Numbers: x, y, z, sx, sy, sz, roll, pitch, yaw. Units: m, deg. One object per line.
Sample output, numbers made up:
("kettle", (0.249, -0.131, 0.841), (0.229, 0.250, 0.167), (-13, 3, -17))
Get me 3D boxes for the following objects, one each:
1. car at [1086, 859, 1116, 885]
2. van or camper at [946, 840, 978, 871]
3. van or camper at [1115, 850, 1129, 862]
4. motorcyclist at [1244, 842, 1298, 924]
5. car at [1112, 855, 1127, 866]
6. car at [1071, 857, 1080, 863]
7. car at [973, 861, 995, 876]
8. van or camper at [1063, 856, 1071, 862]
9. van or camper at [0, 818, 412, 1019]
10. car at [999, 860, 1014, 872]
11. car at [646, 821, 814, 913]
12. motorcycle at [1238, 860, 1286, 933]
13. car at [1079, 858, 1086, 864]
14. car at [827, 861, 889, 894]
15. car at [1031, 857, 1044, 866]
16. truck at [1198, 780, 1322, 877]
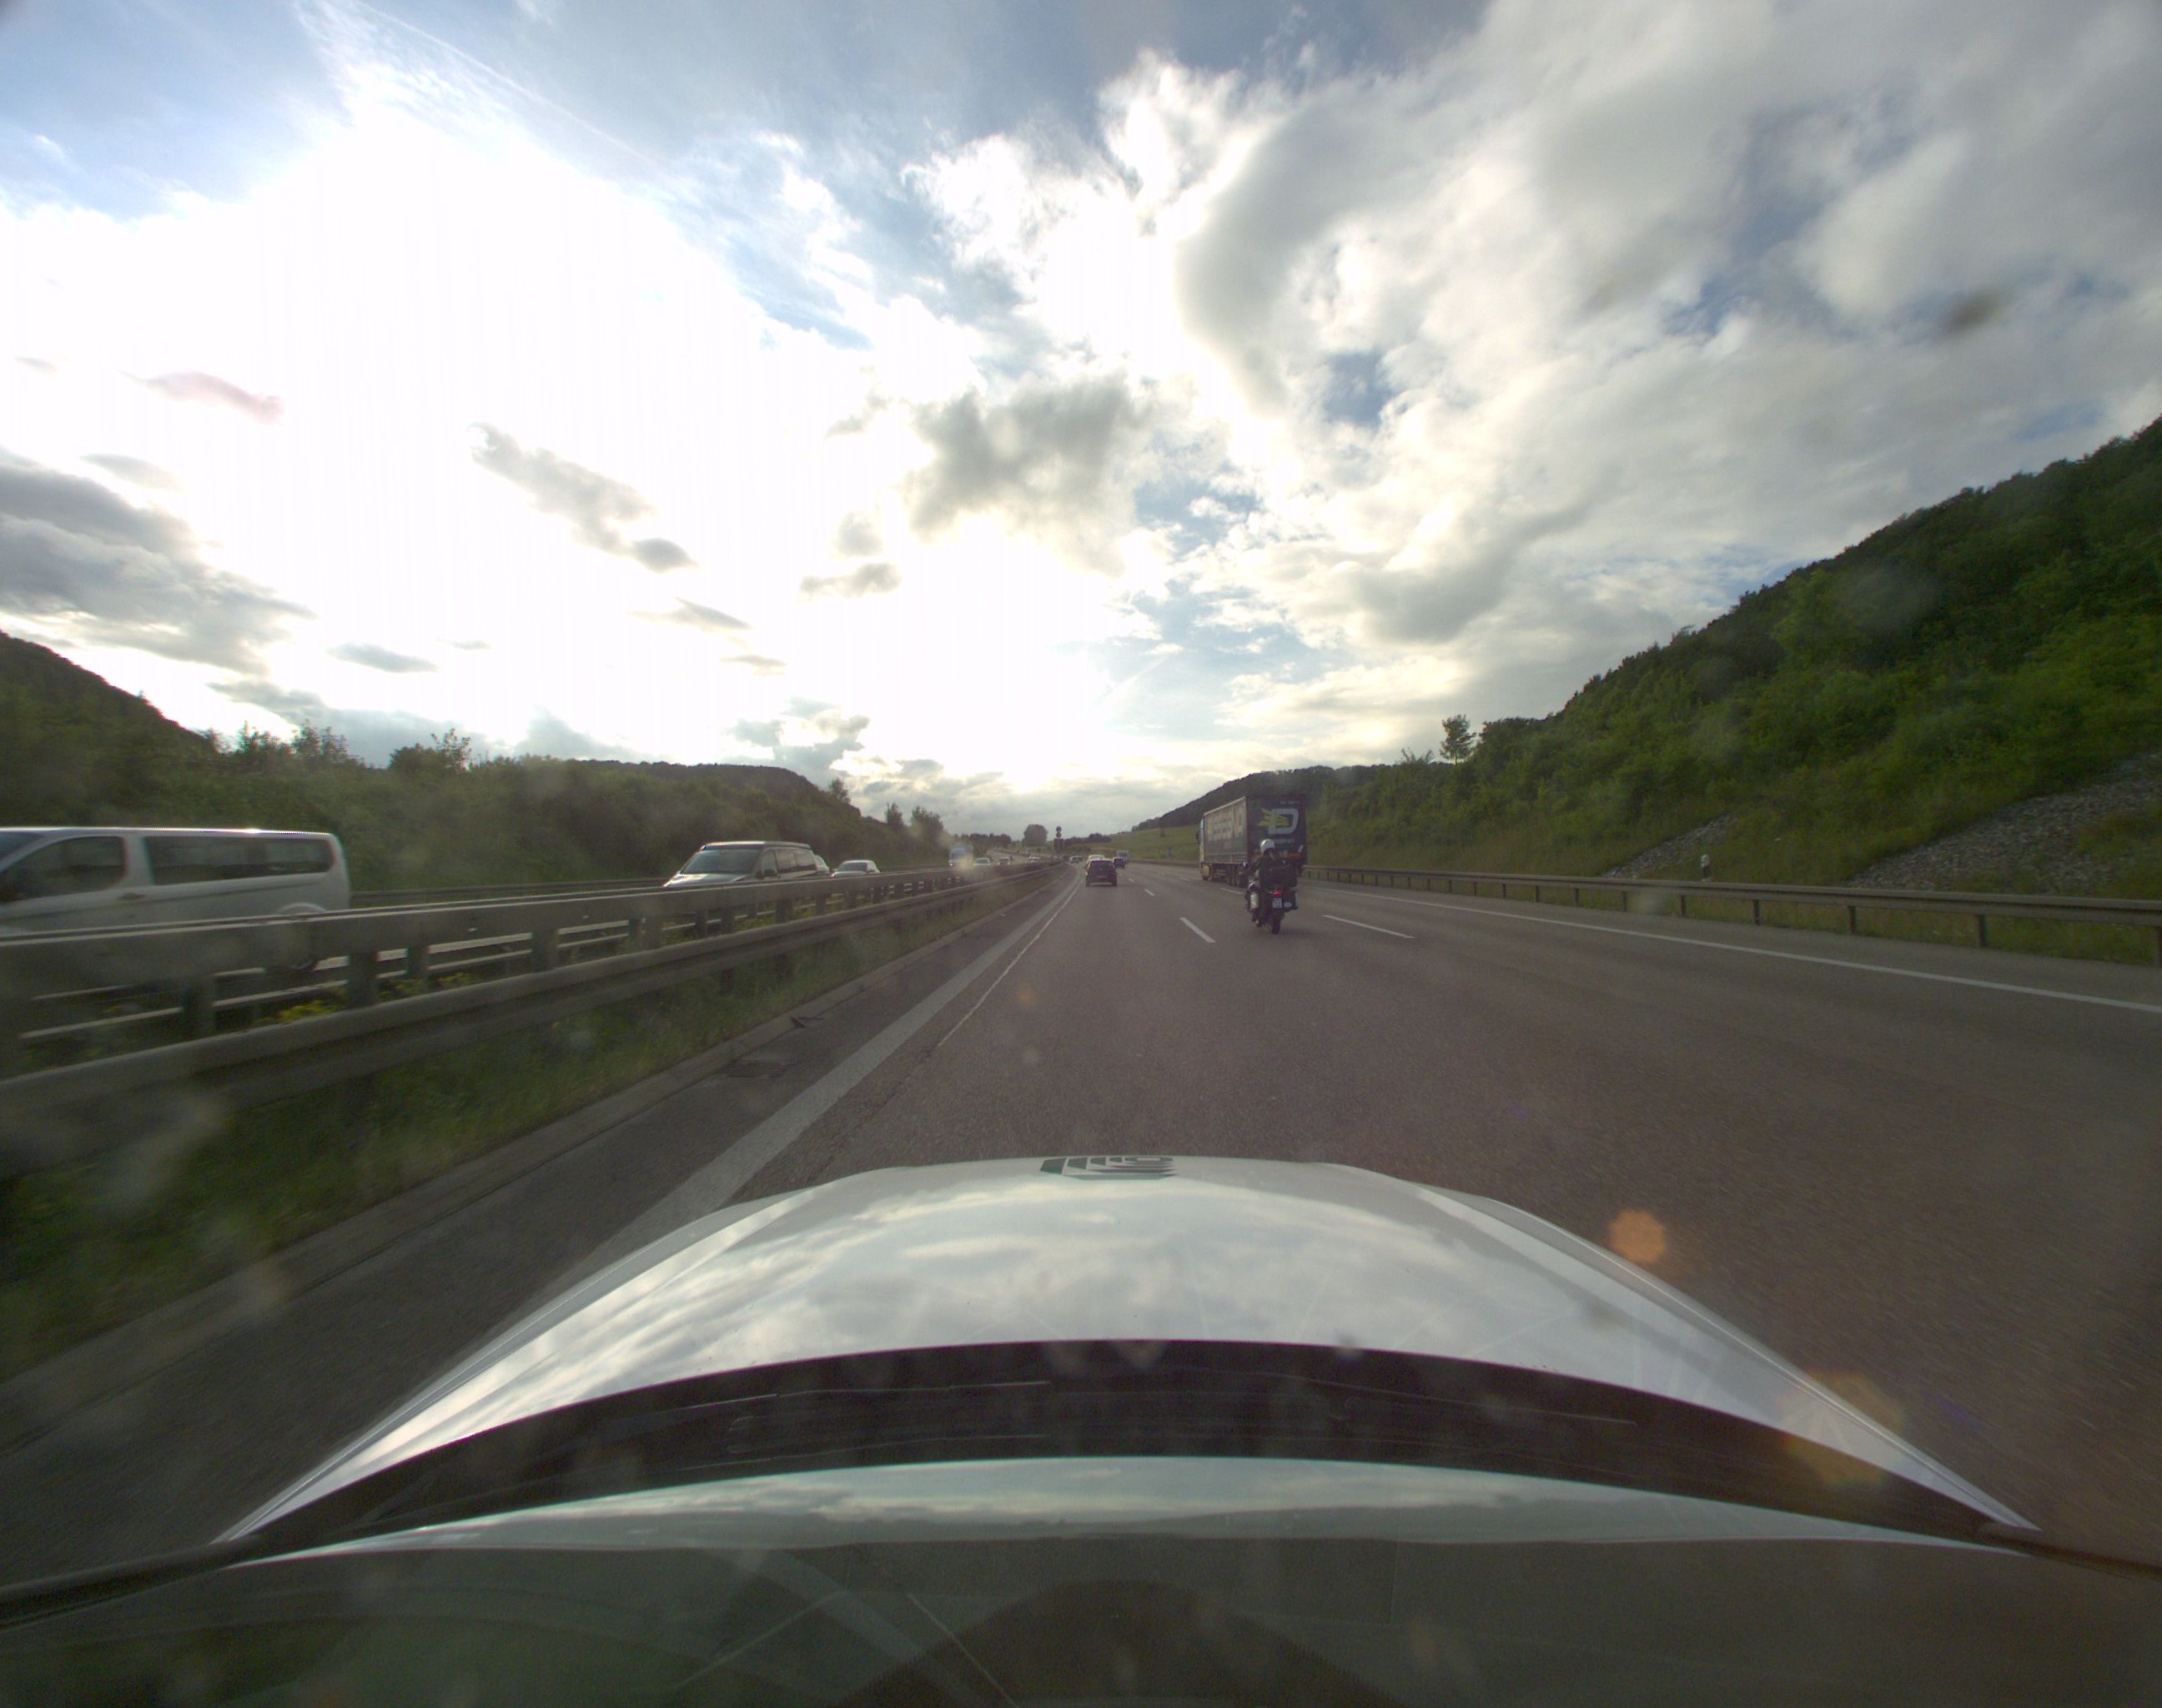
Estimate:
("car", (1.115, 0.950, 44.137), (1.532, 1.348, 3.678), (-1, 0, 2))
("van or camper", (-14.074, 0.202, 96.932), (2.474, 3.551, 7.977), (-1, 0, 0))
("van or camper", (7.653, 0.390, 152.016), (2.538, 2.239, 5.331), (-1, 0, 2))
("motorcyclist", (3.638, 0.545, 15.628), (0.873, 1.515, 0.798), (0, -1, 2))
("car", (4.953, 0.850, 105.115), (1.761, 1.433, 3.999), (-1, 0, 0))
("car", (-1.218, 1.324, 181.158), (1.762, 1.433, 3.997), (-1, 0, -1))
("car", (-9.841, 1.412, 82.585), (1.638, 1.436, 4.344), (-1, 0, 0))
("van or camper", (-3.849, 1.377, 221.286), (1.961, 1.433, 3.997), (-1, 0, -1))
("van or camper", (-11.287, 0.643, 9.801), (1.841, 1.940, 5.403), (-1, 0, 2))
("car", (-10.443, 1.656, 113.751), (1.638, 1.656, 4.344), (-1, 0, 0))
("car", (-8.084, 0.273, 19.259), (1.922, 1.891, 4.347), (-1, 0, 2))
("motorcycle", (3.507, 0.797, 15.891), (0.624, 1.339, 1.740), (0, -1, 3))
("car", (0.367, 1.902, 223.636), (1.950, 1.574, 4.001), (-1, 0, 1))
("car", (-10.582, 1.083, 38.938), (1.637, 1.436, 4.347), (-1, 0, 2))
("car", (-6.936, 1.224, 131.282), (1.773, 1.409, 3.764), (-1, 0, 2))
("truck", (8.681, -1.029, 42.616), (2.953, 3.992, 17.736), (-1, 0, 1))
